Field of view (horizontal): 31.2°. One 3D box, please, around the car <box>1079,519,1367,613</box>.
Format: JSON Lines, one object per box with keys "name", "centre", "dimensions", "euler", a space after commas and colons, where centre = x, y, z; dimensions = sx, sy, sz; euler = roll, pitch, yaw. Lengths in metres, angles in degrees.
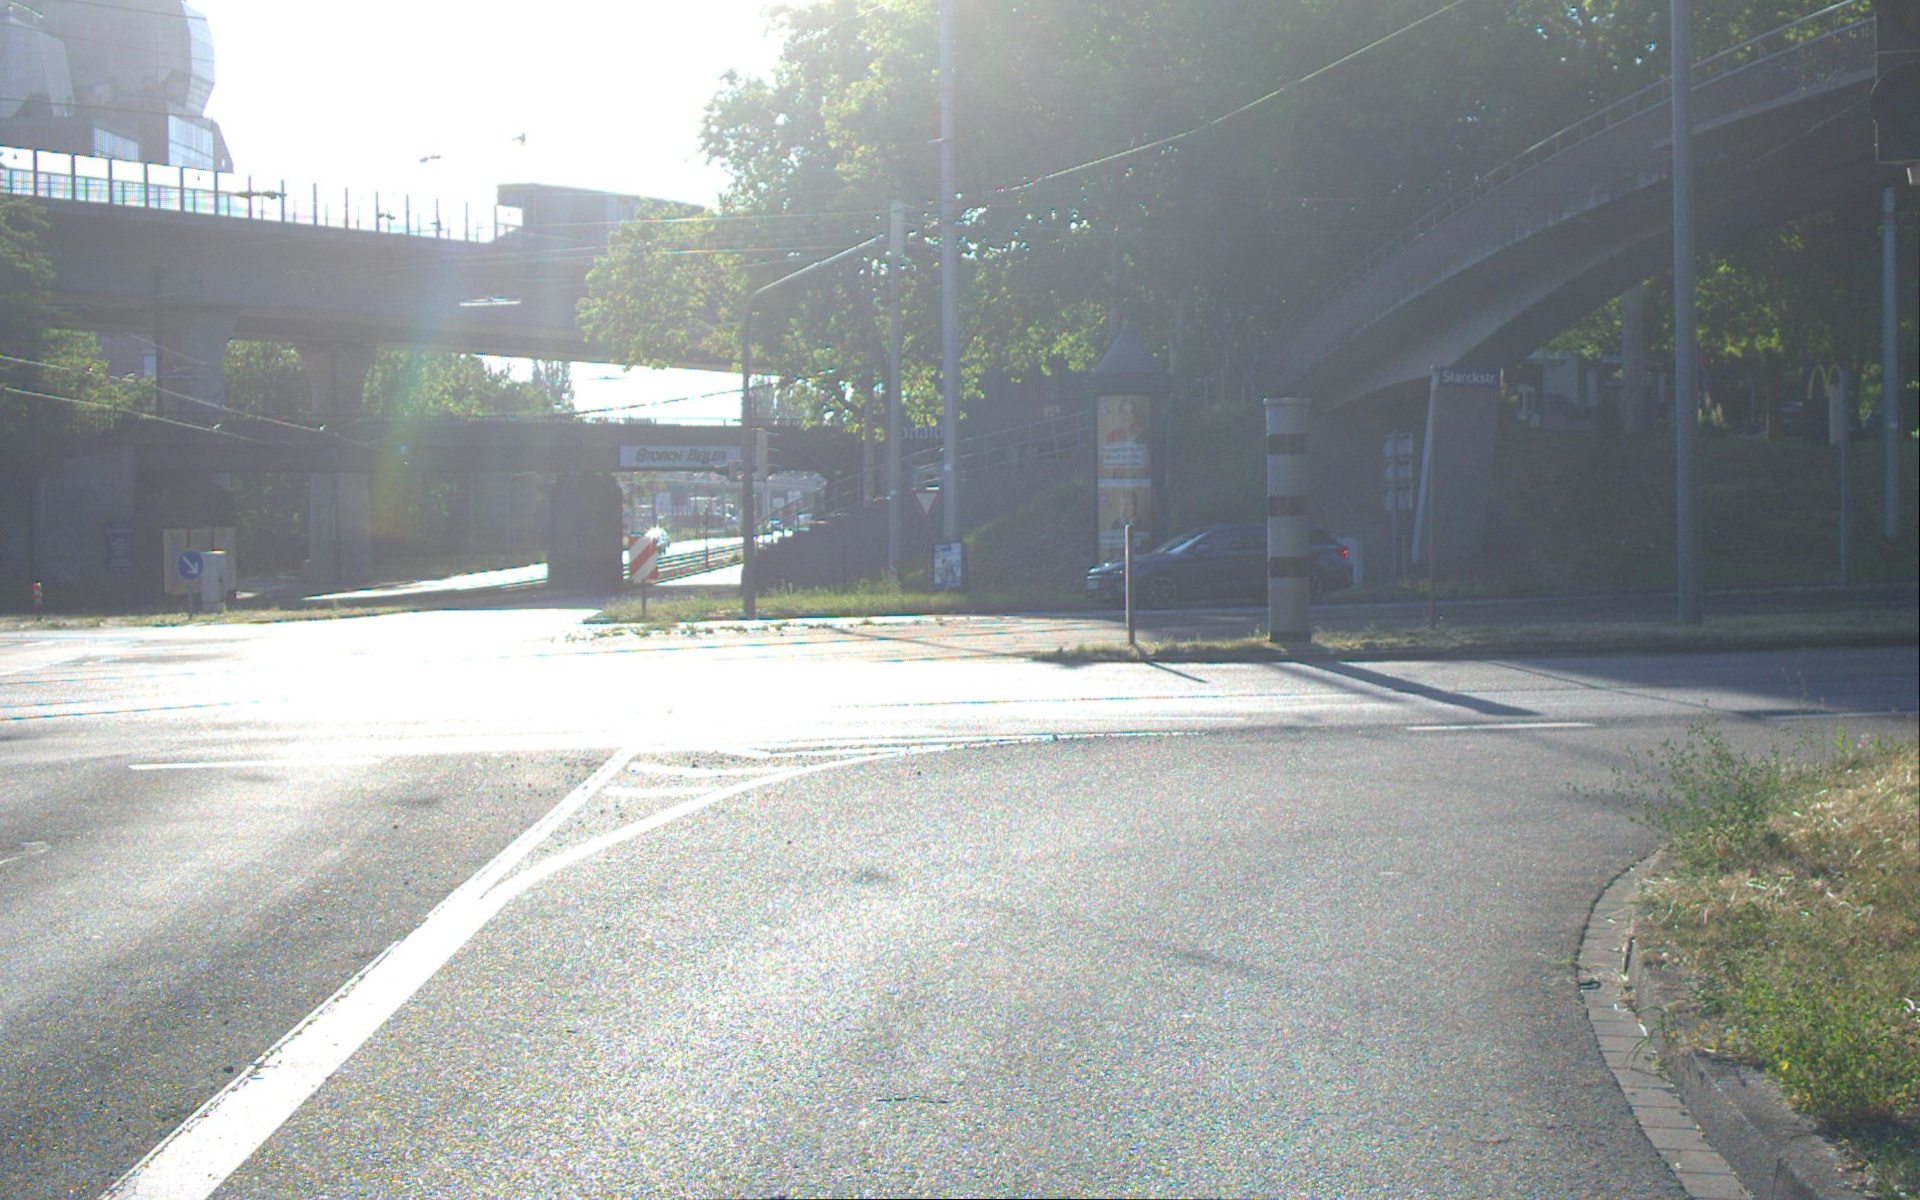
{"name": "car", "centre": [4.462, -0.583, 58.397], "dimensions": [4.574, 1.569, 1.694], "euler": [0, 1, -17]}
